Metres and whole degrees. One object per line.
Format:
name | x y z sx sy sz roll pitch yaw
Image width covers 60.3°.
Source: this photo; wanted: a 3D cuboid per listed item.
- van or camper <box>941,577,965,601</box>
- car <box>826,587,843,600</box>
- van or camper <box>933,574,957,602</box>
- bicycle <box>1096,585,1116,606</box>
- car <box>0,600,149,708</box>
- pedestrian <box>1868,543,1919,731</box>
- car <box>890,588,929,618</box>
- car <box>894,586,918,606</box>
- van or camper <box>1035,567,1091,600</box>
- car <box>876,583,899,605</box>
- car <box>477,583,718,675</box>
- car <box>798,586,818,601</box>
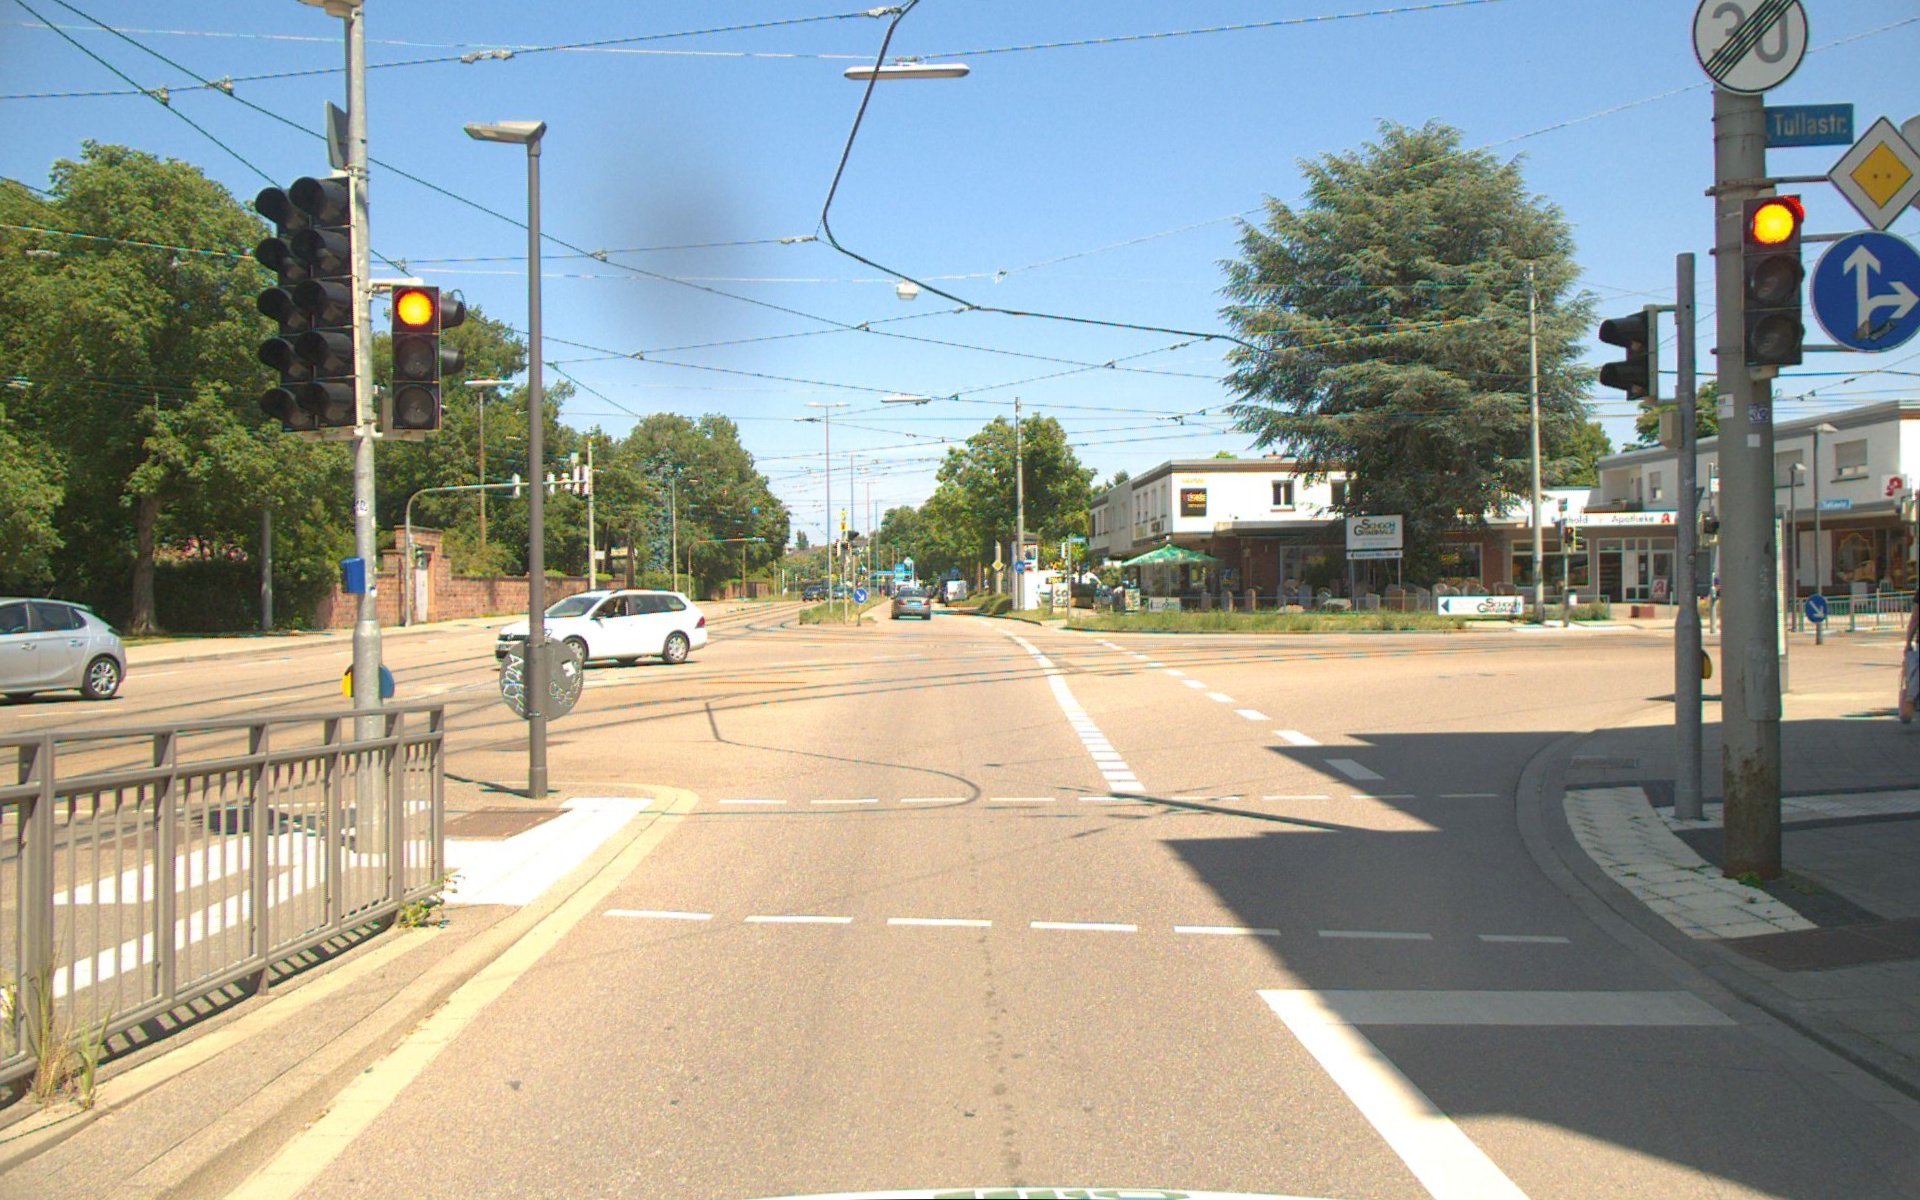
van or camper | -0.572 -0.867 130.367 1.883 1.803 3.999 -1 0 -1
car | -14.393 -0.756 190.232 1.607 1.445 4.168 -1 0 1
van or camper | -1.389 -1.130 152.824 1.954 2.507 3.997 -1 0 -4
bicycle | 7.483 -0.253 84.598 1.012 1.032 2.639 -1 0 5
car | -13.227 0.719 22.249 1.780 1.386 4.052 -1 0 20
pedestrian | 8.654 0.292 14.529 0.809 1.611 0.827 -4 0 5
car | -2.454 0.122 79.431 1.605 1.375 3.838 -1 0 -5
car | -4.001 -0.311 123.358 1.636 1.460 3.474 -1 0 0
van or camper | 8.932 -1.428 143.537 4.662 2.717 2.134 -1 0 -3
car | -6.571 -0.557 149.987 1.954 1.892 3.997 -1 0 -3
car | -7.014 0.508 32.393 1.789 1.515 4.479 -1 2 38
car | -16.436 -0.729 178.841 1.783 1.631 4.519 -1 0 -1
